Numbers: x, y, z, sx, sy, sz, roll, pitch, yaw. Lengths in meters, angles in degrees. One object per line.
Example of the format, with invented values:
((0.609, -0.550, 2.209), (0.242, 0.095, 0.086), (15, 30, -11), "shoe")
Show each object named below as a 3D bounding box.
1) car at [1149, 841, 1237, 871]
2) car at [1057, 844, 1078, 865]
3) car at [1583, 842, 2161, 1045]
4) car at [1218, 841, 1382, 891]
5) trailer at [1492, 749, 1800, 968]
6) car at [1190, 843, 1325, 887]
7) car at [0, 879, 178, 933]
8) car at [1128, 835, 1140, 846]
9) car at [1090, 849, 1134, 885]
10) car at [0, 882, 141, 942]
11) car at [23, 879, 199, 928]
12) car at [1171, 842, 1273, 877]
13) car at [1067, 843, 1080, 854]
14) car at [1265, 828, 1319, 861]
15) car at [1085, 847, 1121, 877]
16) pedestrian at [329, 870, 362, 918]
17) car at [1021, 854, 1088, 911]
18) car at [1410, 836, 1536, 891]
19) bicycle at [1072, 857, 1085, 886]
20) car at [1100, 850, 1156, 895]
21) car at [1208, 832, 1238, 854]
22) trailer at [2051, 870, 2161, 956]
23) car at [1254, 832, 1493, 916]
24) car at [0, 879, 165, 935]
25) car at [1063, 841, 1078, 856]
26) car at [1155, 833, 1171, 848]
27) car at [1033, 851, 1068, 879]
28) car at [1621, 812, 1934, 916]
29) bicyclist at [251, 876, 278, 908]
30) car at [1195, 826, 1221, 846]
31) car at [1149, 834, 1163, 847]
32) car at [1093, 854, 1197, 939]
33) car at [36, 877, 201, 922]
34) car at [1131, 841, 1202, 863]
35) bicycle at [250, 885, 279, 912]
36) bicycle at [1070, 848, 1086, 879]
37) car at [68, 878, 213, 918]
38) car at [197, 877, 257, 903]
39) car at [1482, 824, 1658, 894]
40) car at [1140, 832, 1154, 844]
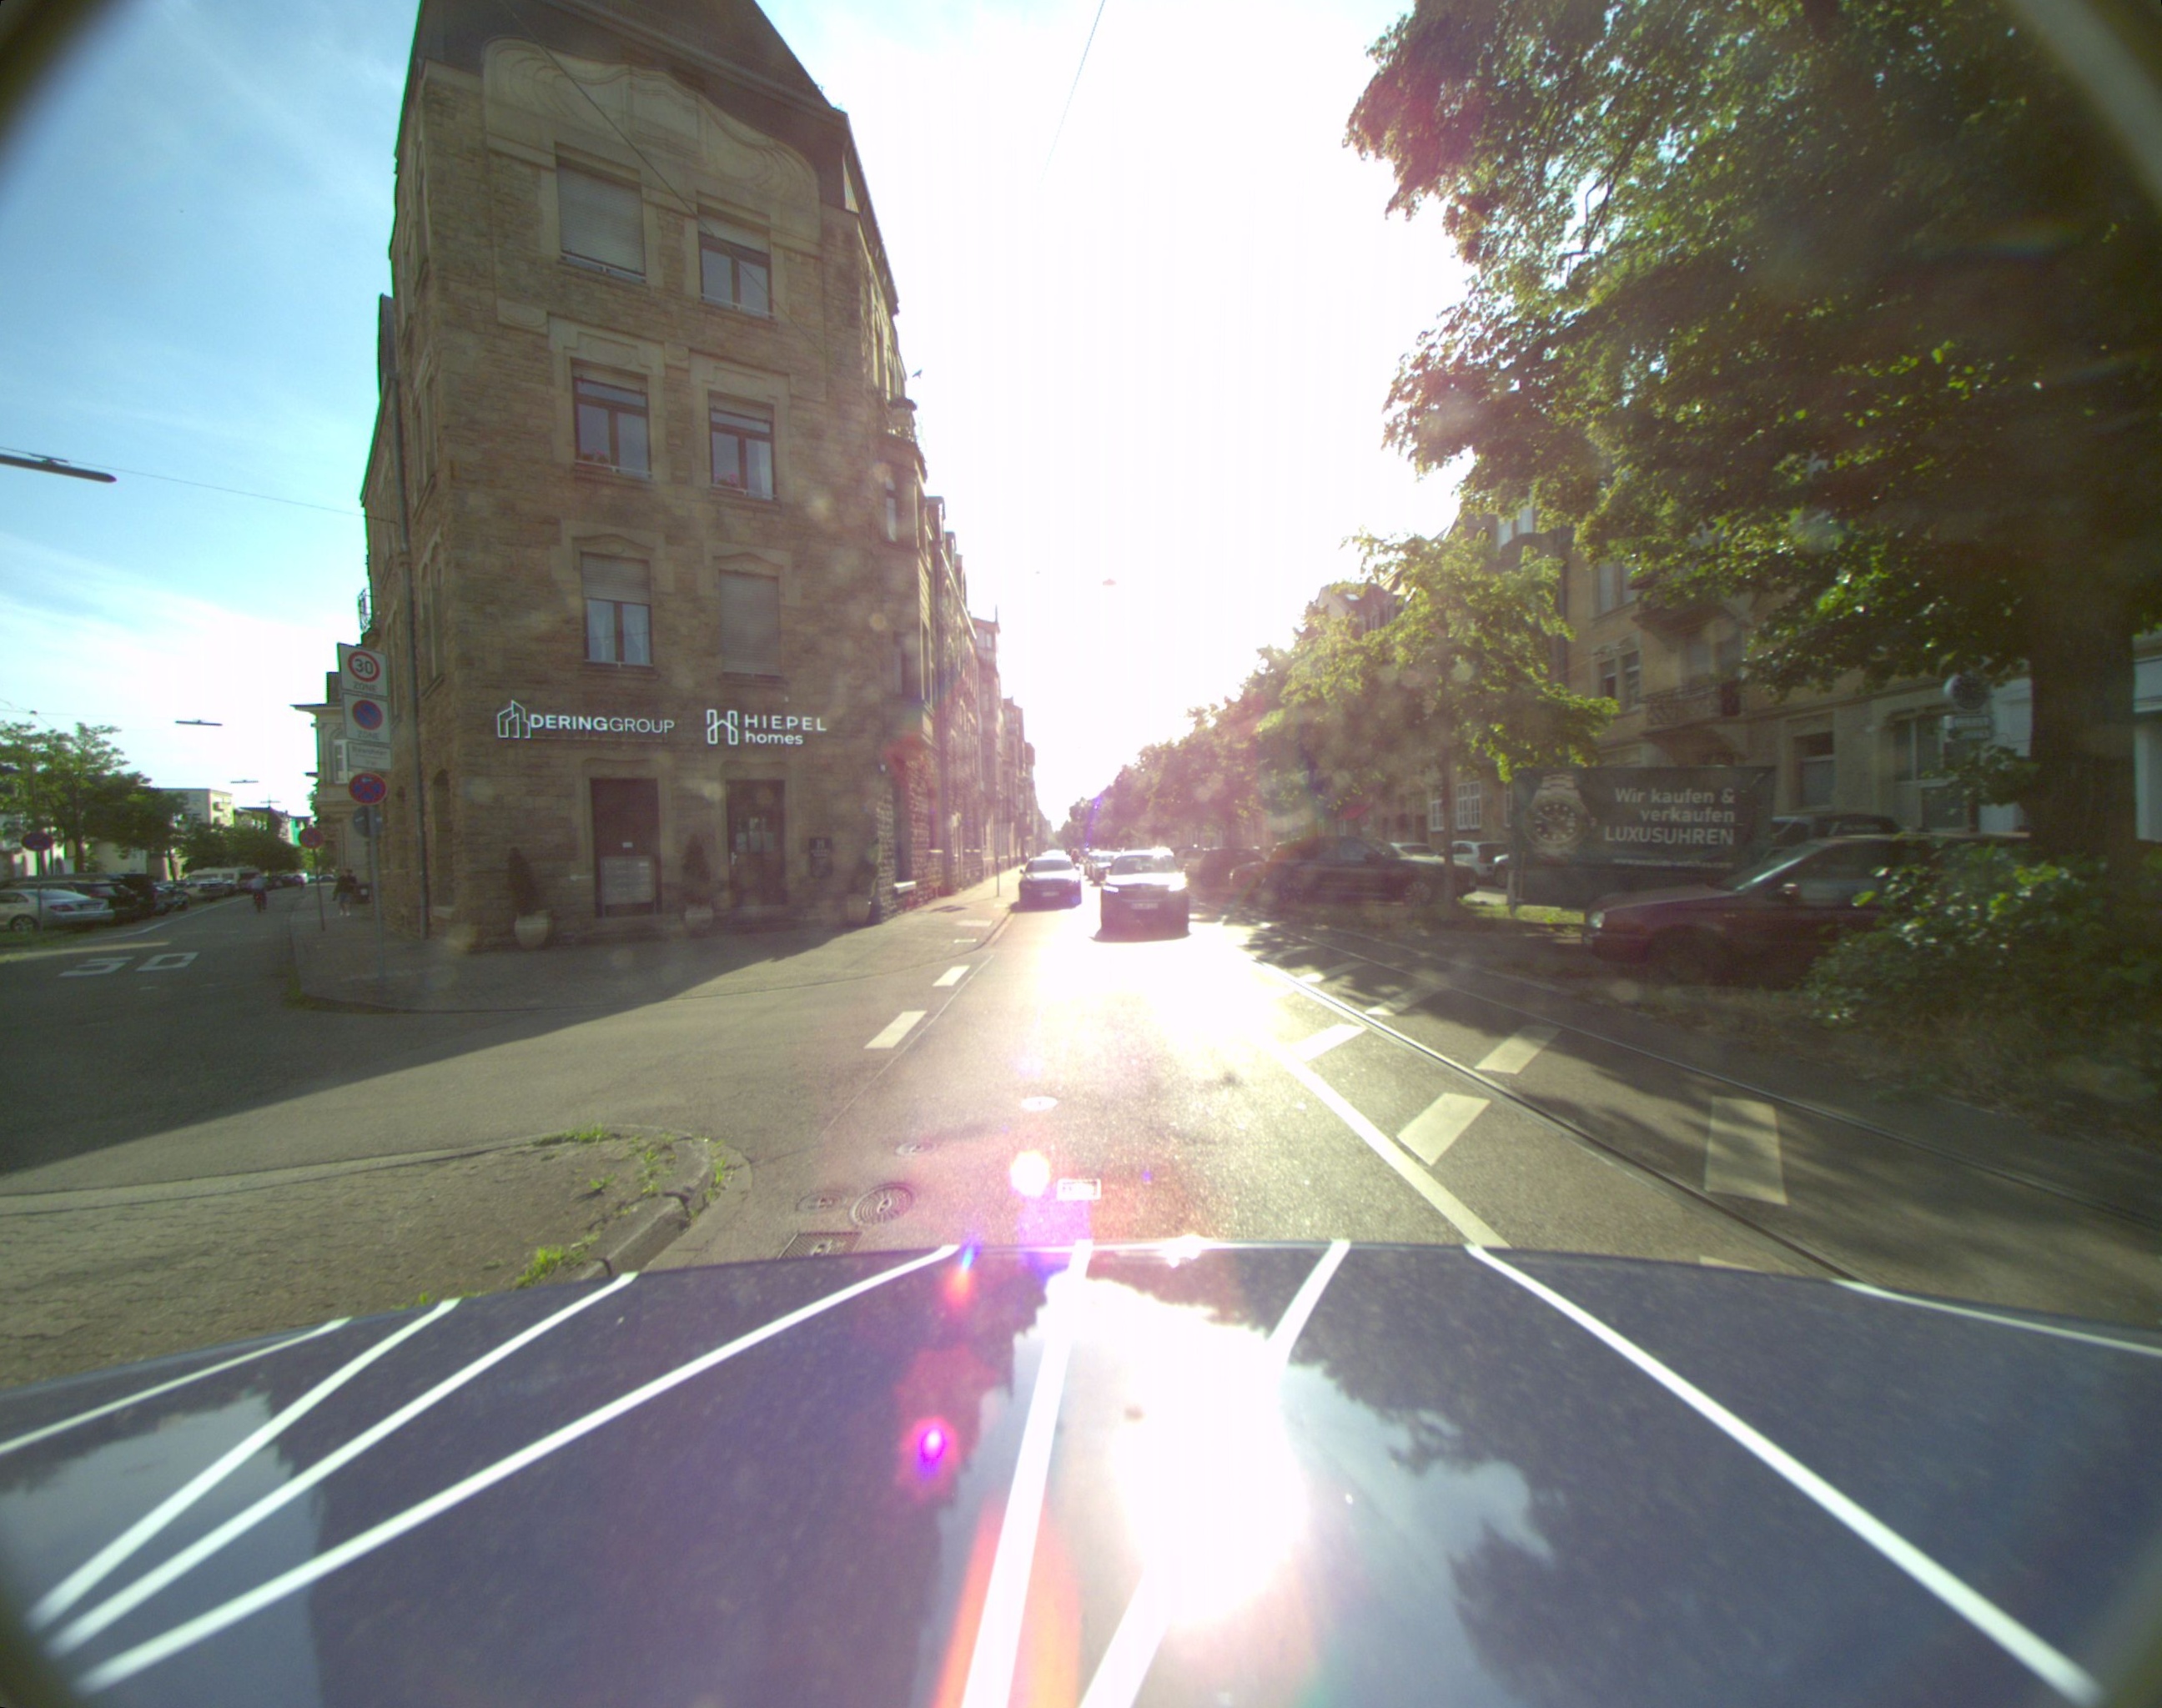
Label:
((6.160, 0.127, 42.034), (4.260, 1.414, 2.176), (-2, 1, 40), "car")
((-1.359, 0.025, 75.792), (1.999, 2.002, 3.999), (-2, 1, -2), "car")
((6.802, 0.638, 6.643), (3.942, 1.352, 1.676), (-1, 1, 36), "car")
((6.823, 0.396, 23.858), (4.598, 1.374, 1.704), (-3, 1, 33), "car")
((6.926, 0.085, 9.675), (2.859, 2.378, 1.726), (-2, 1, 30), "trailer")
((6.362, 0.415, 27.637), (4.294, 1.414, 1.963), (-2, 1, 40), "car")
((-37.394, 1.908, 28.493), (4.005, 1.641, 1.996), (-3, 1, -26), "car")
((11.006, -2.792, 158.551), (1.999, 2.002, 3.999), (-3, 1, -2), "car")
((1.402, 0.560, 35.572), (1.840, 1.472, 3.999), (-3, 1, 0), "car")
((-33.255, 1.858, 24.042), (4.000, 1.641, 1.998), (-3, 1, -9), "car")
((-40.414, 2.018, 31.821), (4.005, 1.641, 1.996), (-3, 1, -26), "car")
((6.388, 0.285, 34.656), (4.260, 1.414, 1.685), (-2, 1, 40), "car")
((-1.346, -1.095, 142.621), (1.998, 2.002, 4.000), (-3, 1, 3), "car")
((13.455, -0.602, 48.701), (2.170, 1.890, 4.610), (-3, 1, 1), "car")
((1.166, 0.416, 42.319), (1.840, 1.472, 3.999), (-3, 1, 0), "car")
((-26.659, 1.434, 27.556), (0.765, 1.665, 0.781), (-4, 1, -43), "pedestrian")
((-0.861, 0.806, 23.778), (1.840, 1.494, 4.264), (-3, 1, -3), "car")
((13.939, 0.292, 27.395), (2.170, 1.740, 4.610), (-3, 1, 1), "car")
((-0.110, 0.748, 32.521), (0.484, 1.183, 1.339), (-3, 1, -2), "bicycle")
((1.703, 0.647, 28.925), (1.840, 1.472, 3.999), (-3, 1, 0), "car")
((13.714, -1.049, 73.591), (1.999, 2.002, 3.999), (-3, 1, -1), "car")
((14.594, 0.772, 9.385), (1.444, 0.891, 2.879), (-8, 1, -1), "trailer")
((6.720, 0.418, 17.736), (4.704, 1.681, 2.176), (-1, 1, 40), "car")
((-35.205, 1.805, 26.241), (4.005, 1.641, 1.996), (-3, 1, -26), "car")
((-1.443, -0.742, 106.798), (1.999, 2.002, 3.999), (-2, 1, -2), "car")
((12.158, -1.994, 113.169), (1.998, 2.002, 4.000), (-3, 1, 2), "car")
((-1.780, 0.634, 45.294), (1.840, 1.472, 3.999), (-3, 1, 0), "car")
((14.014, 0.160, 15.818), (2.170, 1.740, 4.717), (-3, 1, 1), "car")
((-37.833, 1.749, 35.195), (0.745, 1.447, 0.652), (-4, 1, -43), "bicyclist")
((13.706, -1.961, 82.236), (1.999, 2.002, 3.999), (-3, 1, -1), "car")
((12.285, -2.258, 124.259), (1.998, 2.002, 4.000), (-3, 1, 2), "car")
((1.213, 0.782, 16.063), (1.840, 1.472, 3.999), (-2, 1, 0), "car")
((-42.585, 1.979, 33.762), (4.005, 1.641, 1.996), (-3, 1, -26), "car")
((5.822, -0.129, 52.042), (4.259, 1.414, 2.176), (-1, 1, 40), "car")
((-37.773, 2.039, 35.186), (0.696, 1.149, 2.473), (-4, 1, -43), "bicycle")
((-0.130, 0.394, 32.527), (0.575, 1.290, 0.688), (-3, 1, -1), "bicycle")
((-47.044, 2.165, 38.137), (4.005, 1.641, 1.996), (-3, 1, -26), "car")
((-58.880, 2.460, 52.469), (2.003, 1.641, 3.990), (-3, 1, -38), "car")
((14.073, 0.103, 22.288), (2.170, 1.740, 4.610), (-3, 1, 1), "car")
((11.876, -2.817, 136.777), (1.999, 2.002, 3.999), (-3, 1, -2), "car")
